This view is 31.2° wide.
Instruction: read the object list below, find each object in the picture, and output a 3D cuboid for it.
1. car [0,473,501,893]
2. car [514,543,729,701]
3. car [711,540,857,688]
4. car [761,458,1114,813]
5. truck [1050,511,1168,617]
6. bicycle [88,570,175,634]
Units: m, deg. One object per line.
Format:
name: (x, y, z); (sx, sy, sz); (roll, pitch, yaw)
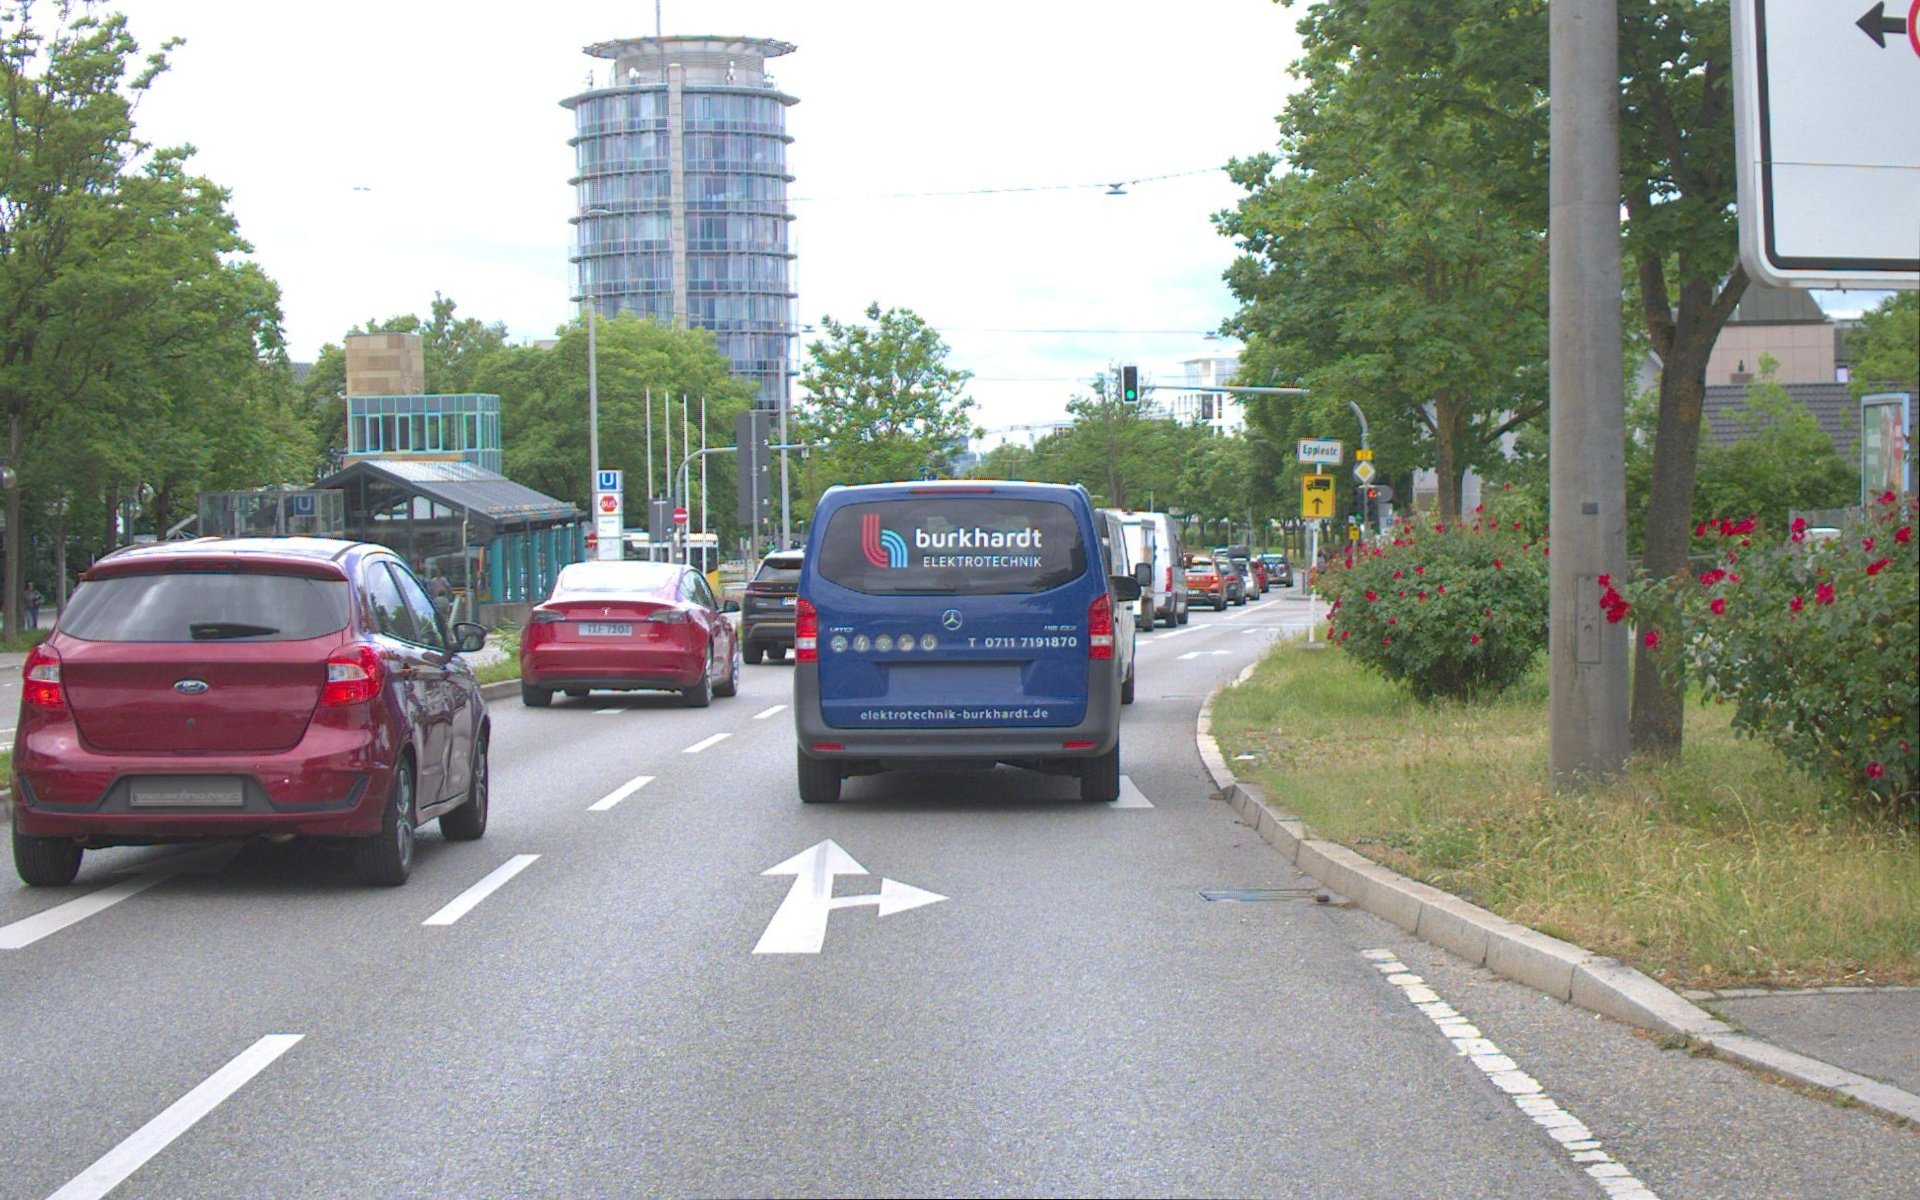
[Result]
car: (-3.267, 0.321, 16.140); (1.746, 1.718, 4.000); (0, 1, -1)
car: (-3.372, 0.233, 34.898); (1.868, 1.481, 4.000); (-1, -1, -1)
car: (-2.515, 0.164, 50.022); (1.993, 2.006, 4.001); (0, 2, -1)
car: (-0.089, 0.170, 21.257); (1.948, 1.959, 4.541); (0, 1, 1)
truck: (3.267, -0.784, 74.370); (1.994, 2.158, 5.557); (1, 1, 8)
bicycle: (-17.065, 0.036, 70.884); (1.052, 1.266, 2.425); (1, 1, 3)
